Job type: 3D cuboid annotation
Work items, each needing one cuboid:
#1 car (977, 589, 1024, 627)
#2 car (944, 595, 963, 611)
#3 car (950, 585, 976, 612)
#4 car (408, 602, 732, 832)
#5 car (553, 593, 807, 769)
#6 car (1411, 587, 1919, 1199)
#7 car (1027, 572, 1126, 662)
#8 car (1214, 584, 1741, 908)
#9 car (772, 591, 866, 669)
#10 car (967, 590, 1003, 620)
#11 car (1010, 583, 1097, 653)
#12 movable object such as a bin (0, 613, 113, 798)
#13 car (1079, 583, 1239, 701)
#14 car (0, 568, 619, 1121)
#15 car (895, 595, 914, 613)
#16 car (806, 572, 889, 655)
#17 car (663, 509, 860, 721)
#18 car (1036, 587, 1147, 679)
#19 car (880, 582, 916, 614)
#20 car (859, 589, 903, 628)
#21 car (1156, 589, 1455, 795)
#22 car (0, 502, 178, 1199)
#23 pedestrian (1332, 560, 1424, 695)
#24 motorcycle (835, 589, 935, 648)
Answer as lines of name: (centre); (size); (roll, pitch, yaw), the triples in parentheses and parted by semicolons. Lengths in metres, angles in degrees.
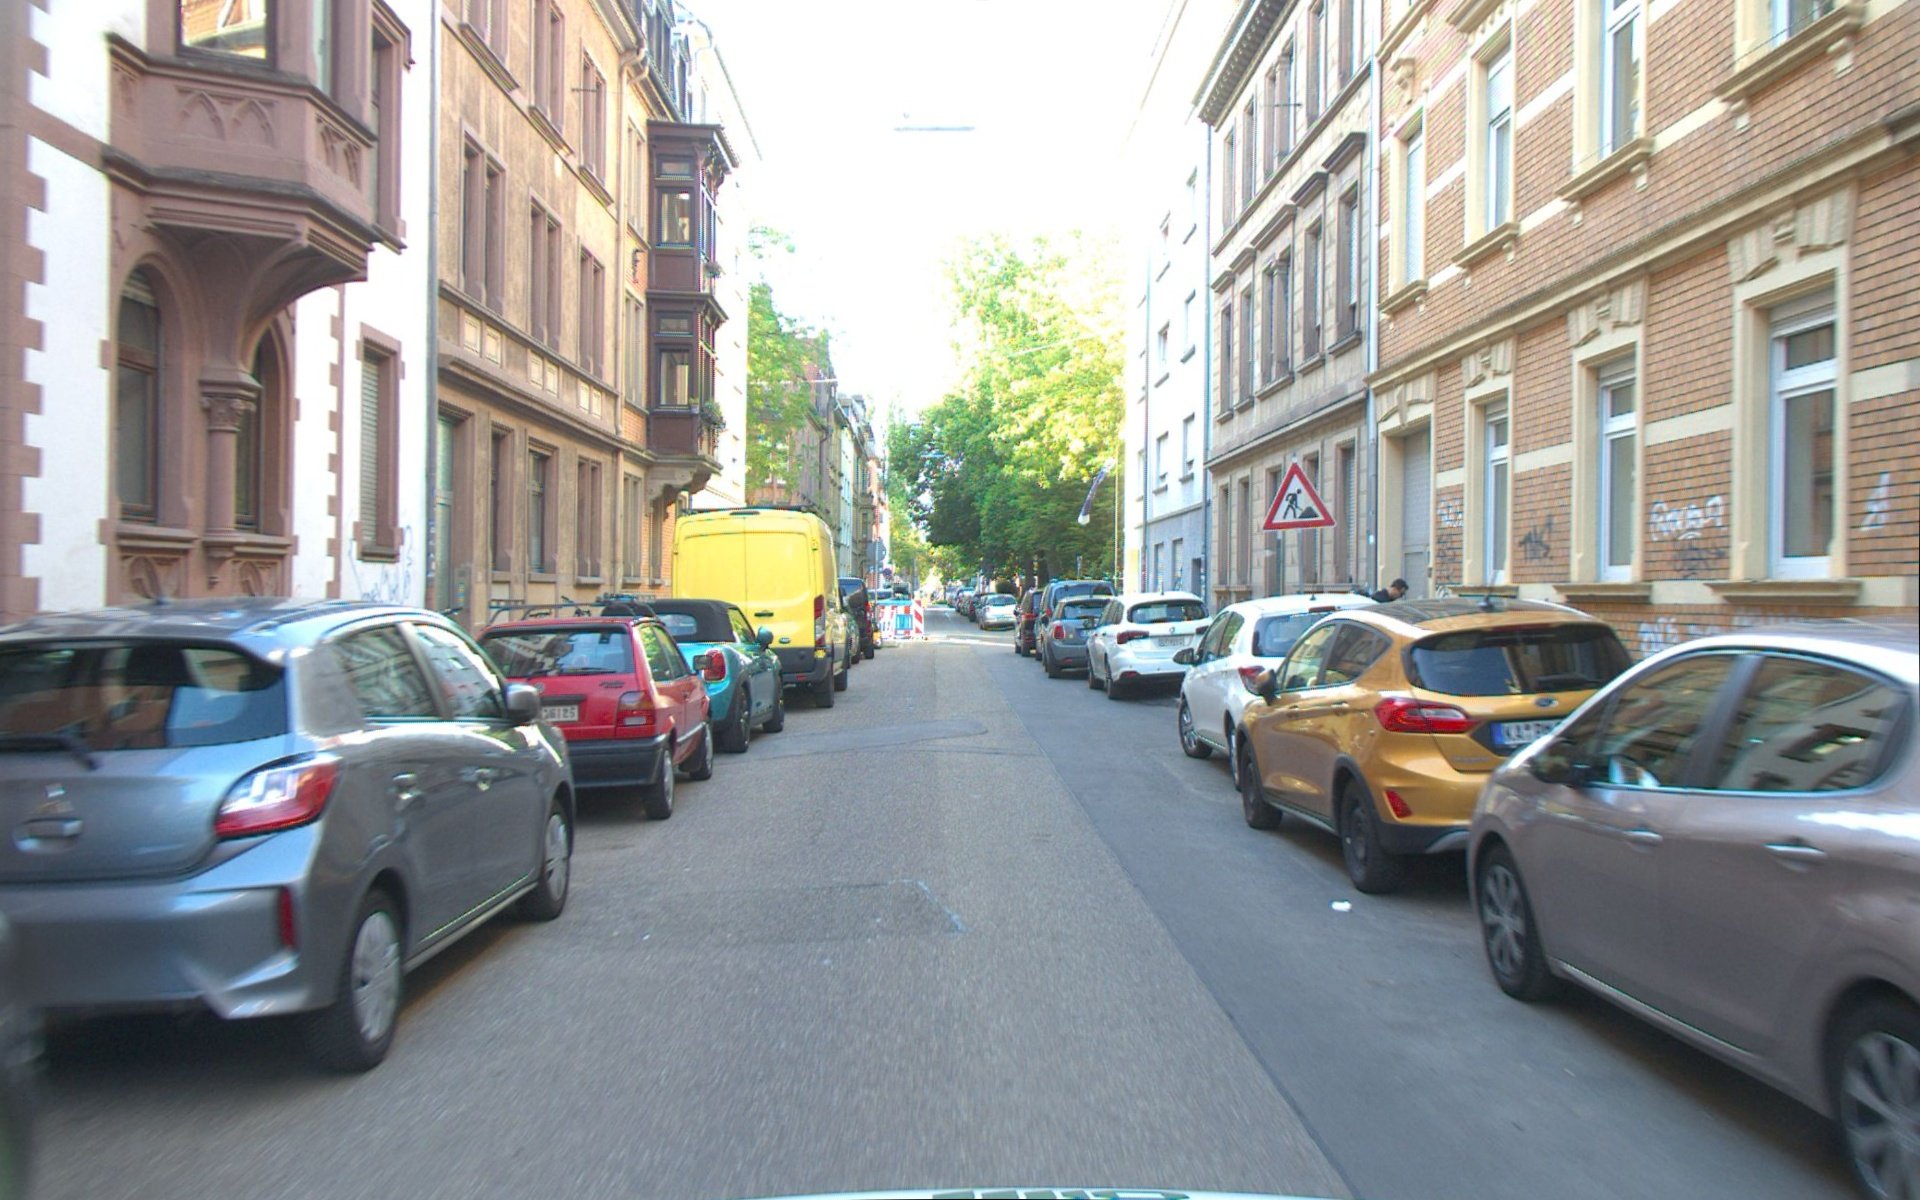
car: (1.723, 0.320, 71.093); (1.689, 1.549, 3.997); (0, 0, -4)
car: (-0.734, 0.313, 180.307); (1.953, 1.758, 3.999); (0, 0, -1)
car: (0.264, -0.151, 142.858); (2.117, 2.295, 4.523); (0, 0, -2)
car: (-2.703, 0.737, 12.233); (1.585, 1.349, 3.611); (-3, 0, -2)
car: (-2.695, 0.721, 16.789); (1.683, 1.437, 3.898); (-5, 0, 2)
car: (2.978, 0.744, 5.331); (1.691, 1.442, 4.092); (-4, 1, -3)
car: (2.540, 0.326, 37.005); (1.718, 1.817, 4.722); (-3, 1, -1)
car: (2.834, 0.700, 10.073); (1.719, 1.471, 4.067); (-3, 0, -3)
car: (-2.809, 0.564, 33.642); (1.643, 1.475, 3.644); (1, 0, -1)
car: (1.373, 0.272, 92.370); (1.856, 1.654, 3.998); (0, 0, -2)
car: (2.300, 0.426, 41.671); (1.862, 1.668, 4.389); (0, 0, -1)
movable object such as a bin: (-5.504, 0.613, 9.866); (0.539, 1.044, 0.559); (2, 0, 14)
car: (2.992, 0.574, 25.689); (1.719, 1.544, 4.442); (-4, 1, -2)
car: (-2.600, 0.681, 6.578); (1.660, 1.500, 3.918); (-3, 1, -1)
car: (-5.568, 0.428, 165.308); (1.911, 1.739, 3.998); (0, 0, -3)
car: (-2.591, 0.287, 38.271); (1.782, 1.797, 4.332); (0, 0, -4)
car: (-2.638, 0.166, 23.463); (2.131, 2.551, 5.876); (-2, 0, -1)
car: (2.438, 0.574, 31.567); (1.718, 1.478, 4.288); (-4, 1, 1)
car: (-4.303, -0.141, 115.136); (2.262, 2.151, 5.169); (0, 0, 0)
car: (-3.676, 0.398, 77.160); (1.843, 1.737, 4.000); (-1, 0, 0)
car: (2.965, 0.708, 15.047); (1.686, 1.506, 4.081); (-4, 0, -2)
car: (-2.538, 0.648, 1.612); (1.745, 1.634, 4.068); (0, 0, -2)
pedestrian: (5.252, 0.340, 20.809); (0.650, 1.659, 0.867); (-1, -1, -43)
motorcycle: (-1.976, 0.474, 43.581); (2.483, 1.508, 0.895); (0, 0, -28)
